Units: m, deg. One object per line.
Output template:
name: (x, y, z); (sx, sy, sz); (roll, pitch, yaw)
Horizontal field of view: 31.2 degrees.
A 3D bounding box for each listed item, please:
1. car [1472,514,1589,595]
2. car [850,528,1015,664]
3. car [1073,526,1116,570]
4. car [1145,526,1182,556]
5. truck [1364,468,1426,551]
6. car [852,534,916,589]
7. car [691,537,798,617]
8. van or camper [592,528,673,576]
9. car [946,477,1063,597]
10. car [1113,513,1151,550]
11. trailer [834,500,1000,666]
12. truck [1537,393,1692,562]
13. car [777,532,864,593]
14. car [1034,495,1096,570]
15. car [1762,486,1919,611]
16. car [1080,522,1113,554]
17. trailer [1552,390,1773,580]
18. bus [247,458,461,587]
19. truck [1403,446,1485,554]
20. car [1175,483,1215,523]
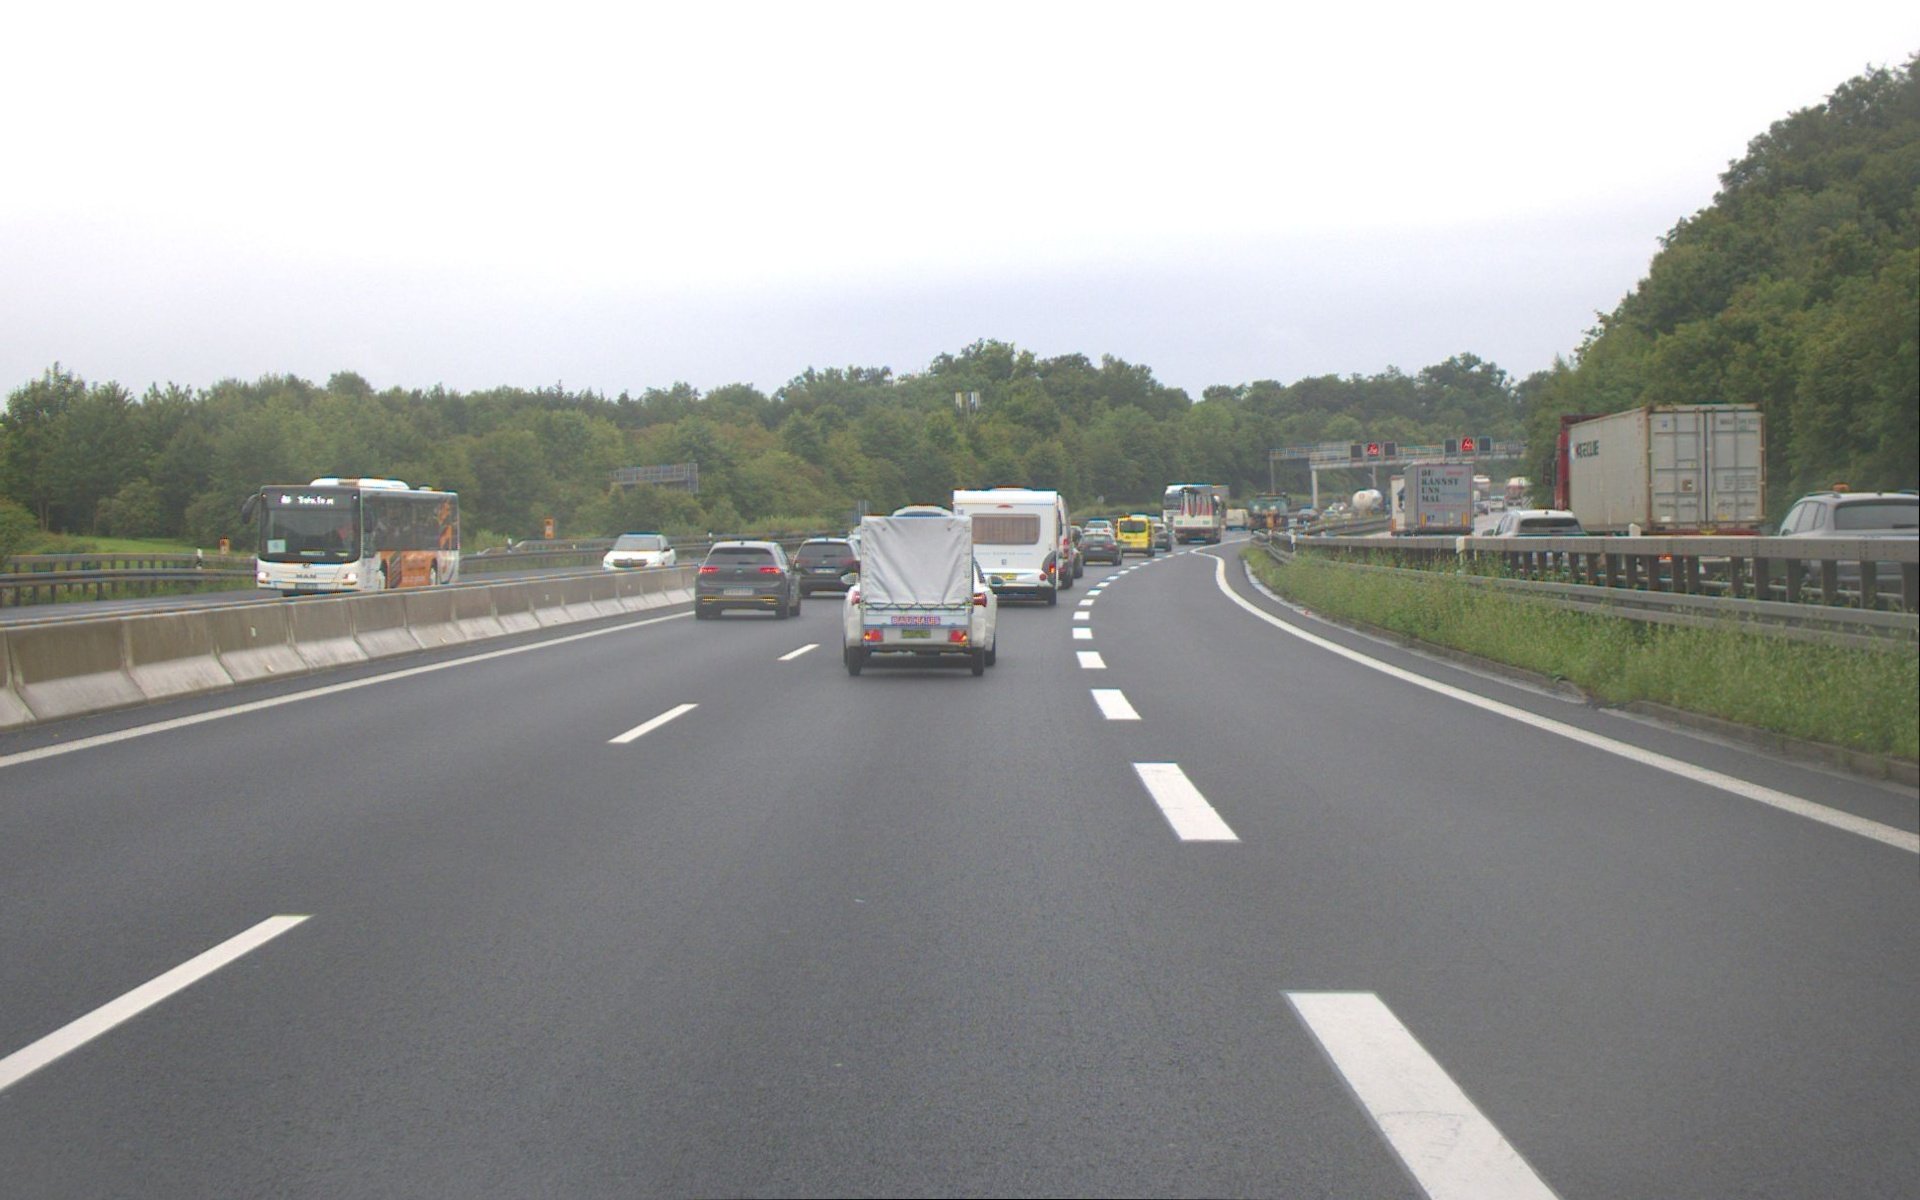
car: (11.750, -0.943, 71.059); (1.770, 1.604, 4.643); (0, 1, 2)
car: (-0.287, -0.075, 43.260); (1.818, 1.610, 4.777); (0, 1, 3)
car: (5.631, -2.174, 144.509); (1.676, 1.806, 4.000); (0, 1, 1)
car: (11.498, -3.326, 193.969); (2.038, 1.677, 3.999); (0, 1, 4)
truck: (25.336, -5.212, 200.622); (3.216, 4.650, 13.030); (0, 1, 6)
car: (-2.295, -1.173, 105.132); (1.776, 1.634, 4.043); (0, 1, 1)
car: (-4.056, -0.447, 65.224); (1.676, 1.451, 4.000); (0, 1, 1)
van or camper: (-10.091, -1.483, 106.240); (1.748, 1.442, 4.585); (-1, 1, 4)
car: (1.009, -1.396, 77.325); (2.507, 2.576, 5.699); (0, 1, 1)
car: (8.711, -3.463, 173.918); (1.676, 1.806, 3.999); (0, 1, 6)
trailer: (-0.453, -0.213, 39.755); (1.676, 1.806, 4.000); (0, 1, 3)
truck: (15.621, -2.865, 82.449); (2.616, 3.871, 6.392); (0, 1, 1)
car: (-3.399, -0.914, 84.275); (1.765, 1.451, 4.000); (0, 1, 3)
car: (2.962, -1.901, 97.192); (1.676, 2.060, 4.000); (0, 1, 2)
car: (10.879, -0.632, 41.288); (1.667, 1.378, 4.126); (-2, 1, 3)
car: (8.515, -3.858, 214.535); (1.993, 2.007, 4.000); (0, 1, 2)
trailer: (15.489, -2.438, 76.778); (2.604, 3.881, 12.490); (0, 1, 1)
bus: (-15.227, -1.900, 87.402); (2.698, 2.948, 11.897); (-2, 1, 3)
truck: (21.745, -4.394, 155.010); (3.216, 4.650, 13.030); (0, 1, 6)
car: (15.550, -6.386, 227.373); (2.516, 2.566, 5.311); (0, 1, 6)
